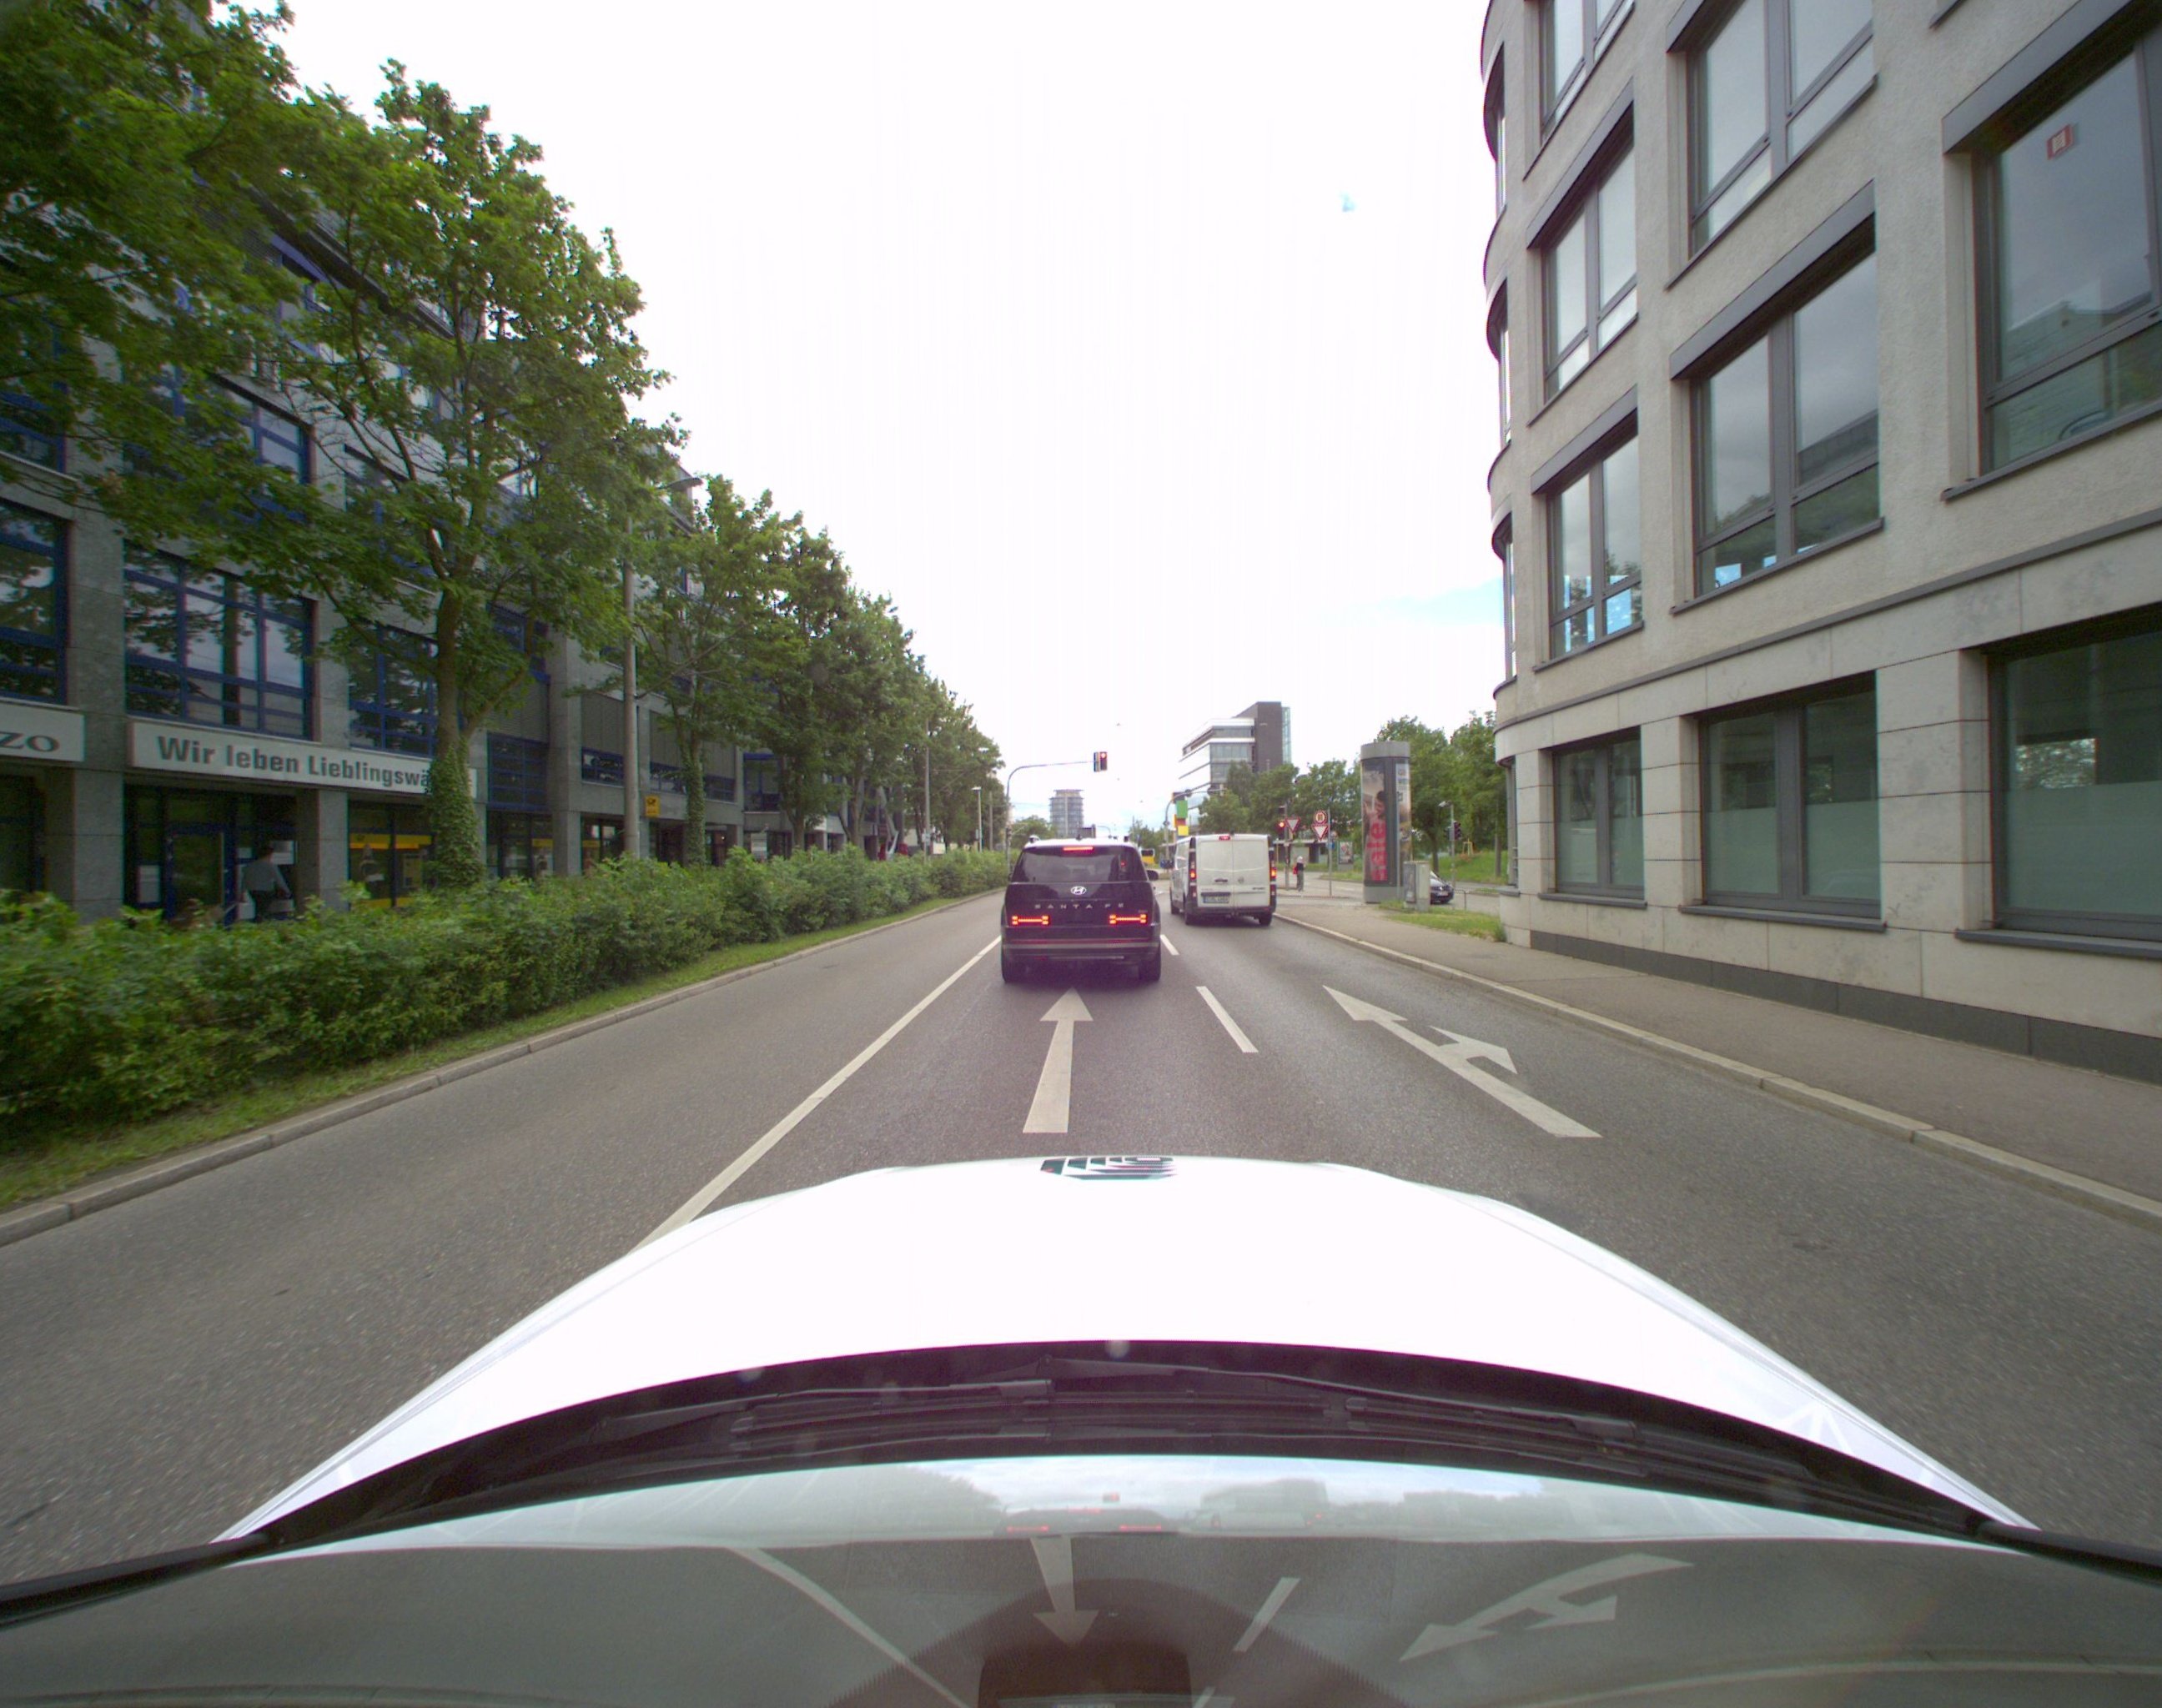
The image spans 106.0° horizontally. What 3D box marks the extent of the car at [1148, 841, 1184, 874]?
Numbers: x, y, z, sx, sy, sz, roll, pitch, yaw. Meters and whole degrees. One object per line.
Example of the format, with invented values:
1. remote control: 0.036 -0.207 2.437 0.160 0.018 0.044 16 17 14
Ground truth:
1. car: 5.317 0.254 51.385 1.986 2.014 4.002 0 -1 2

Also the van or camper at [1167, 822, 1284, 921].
1. van or camper: 3.200 0.360 18.956 1.986 2.013 4.653 0 0 1

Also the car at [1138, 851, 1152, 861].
1. car: 11.240 0.305 142.603 1.988 1.684 3.998 0 -1 -1

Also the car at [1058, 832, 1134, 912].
1. car: 0.433 0.467 22.745 1.908 2.003 3.880 -1 0 1

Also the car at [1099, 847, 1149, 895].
1. car: 1.649 0.627 30.980 1.768 1.717 4.341 0 -1 3

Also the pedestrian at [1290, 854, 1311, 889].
1. pedestrian: 10.071 0.798 37.297 0.744 1.584 0.567 1 0 -39

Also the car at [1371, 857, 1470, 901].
1. car: 13.845 0.997 33.403 1.703 1.684 3.767 0 -1 -18

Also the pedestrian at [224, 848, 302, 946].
1. pedestrian: -16.264 0.841 16.212 0.771 1.894 0.731 0 -1 1

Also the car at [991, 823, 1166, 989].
1. car: 0.023 0.563 10.737 1.862 1.760 3.881 -1 0 1
